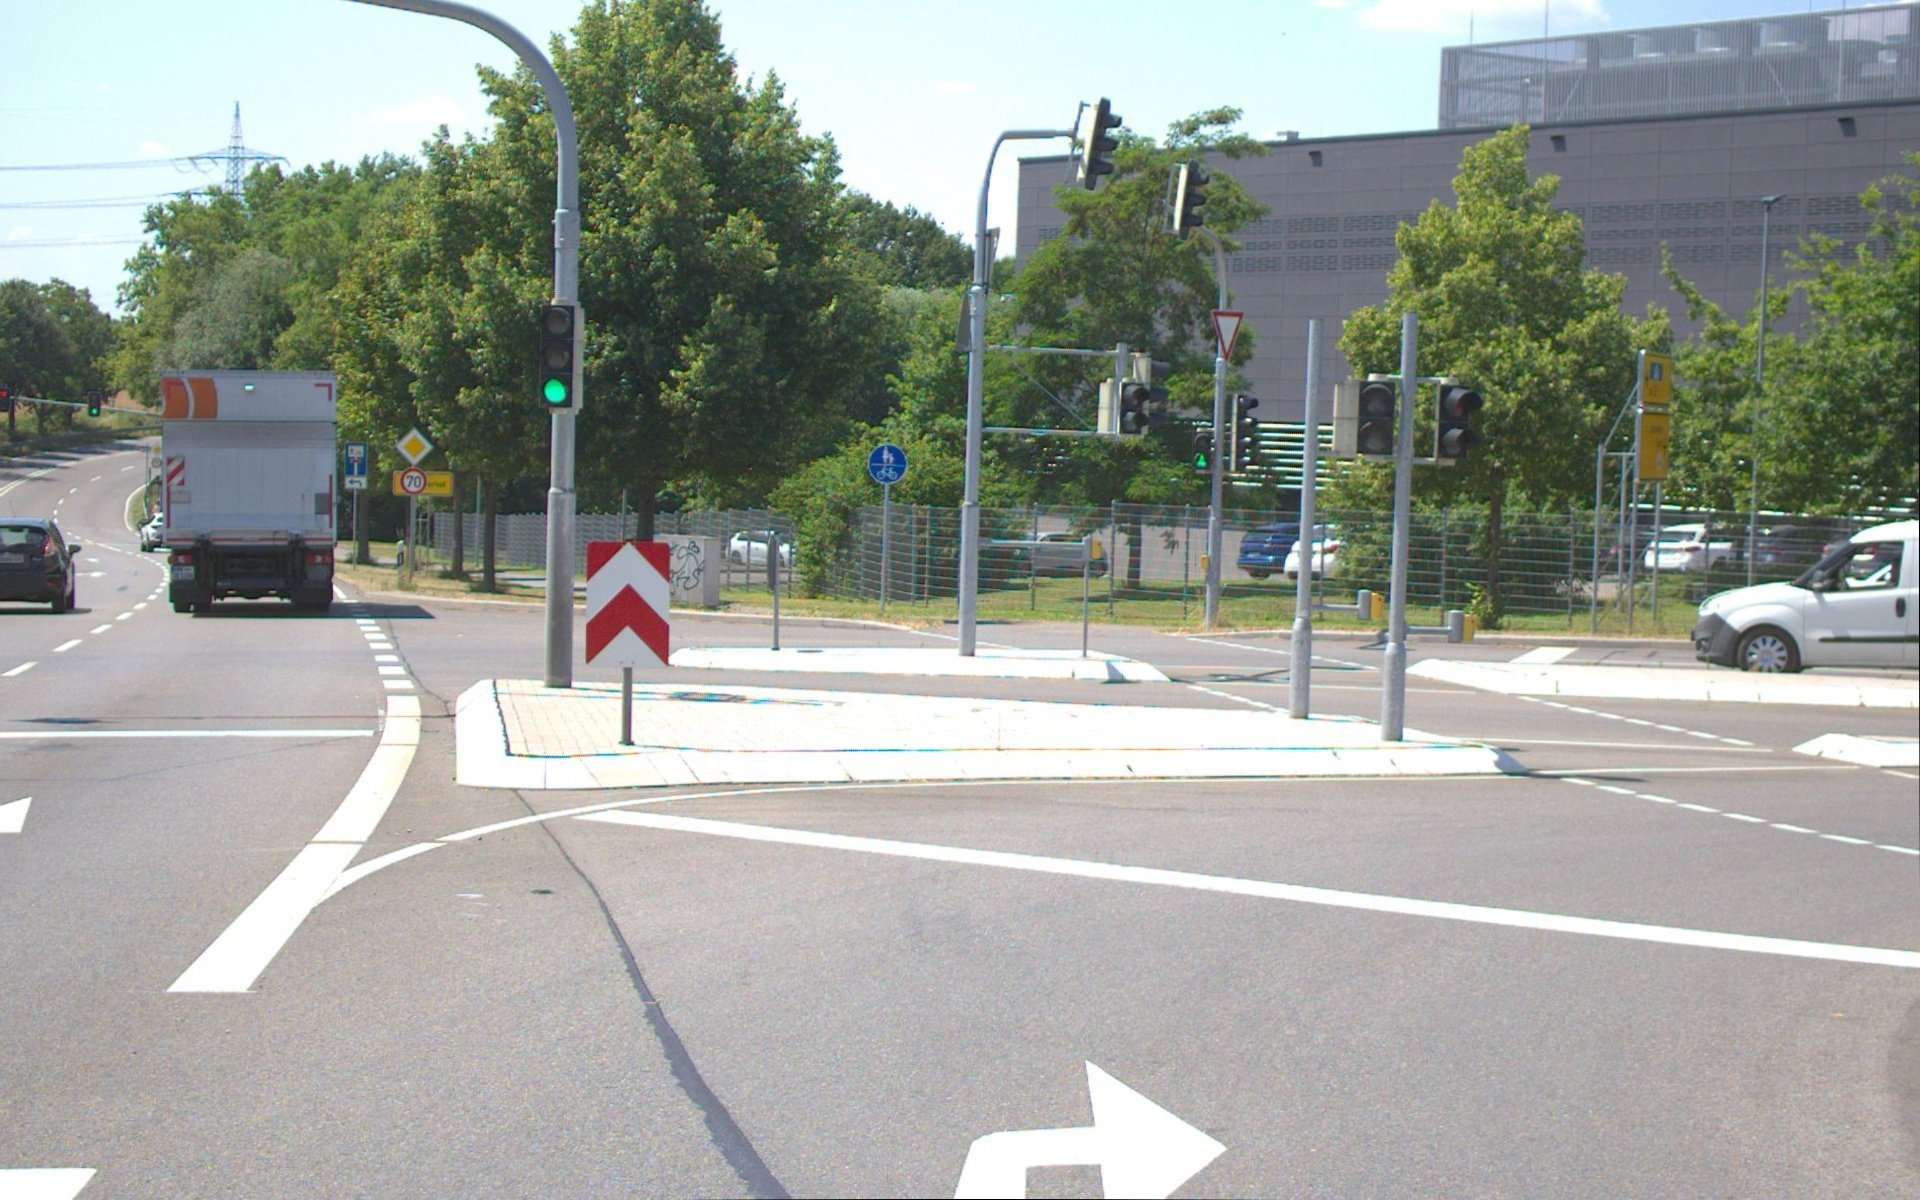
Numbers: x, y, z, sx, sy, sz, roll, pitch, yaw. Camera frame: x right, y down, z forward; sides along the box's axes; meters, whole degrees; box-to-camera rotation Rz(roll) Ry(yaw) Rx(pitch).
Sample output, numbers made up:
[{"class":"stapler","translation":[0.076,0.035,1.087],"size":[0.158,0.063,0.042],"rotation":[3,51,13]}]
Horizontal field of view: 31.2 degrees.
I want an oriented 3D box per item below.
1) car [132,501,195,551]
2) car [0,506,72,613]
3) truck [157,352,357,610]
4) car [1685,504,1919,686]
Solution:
[{"class":"car","translation":[-30.131,-2.798,129.996],"size":[1.943,1.658,4.002],"rotation":[3,2,-17]},{"class":"car","translation":[-14.809,-0.664,53.879],"size":[1.652,1.488,4.209],"rotation":[1,3,-14]},{"class":"truck","translation":[-11.172,-1.902,54.658],"size":[2.803,3.698,9.111],"rotation":[1,2,-12]},{"class":"car","translation":[10.604,-0.057,38.063],"size":[4.750,1.925,2.151],"rotation":[1,1,21]}]
